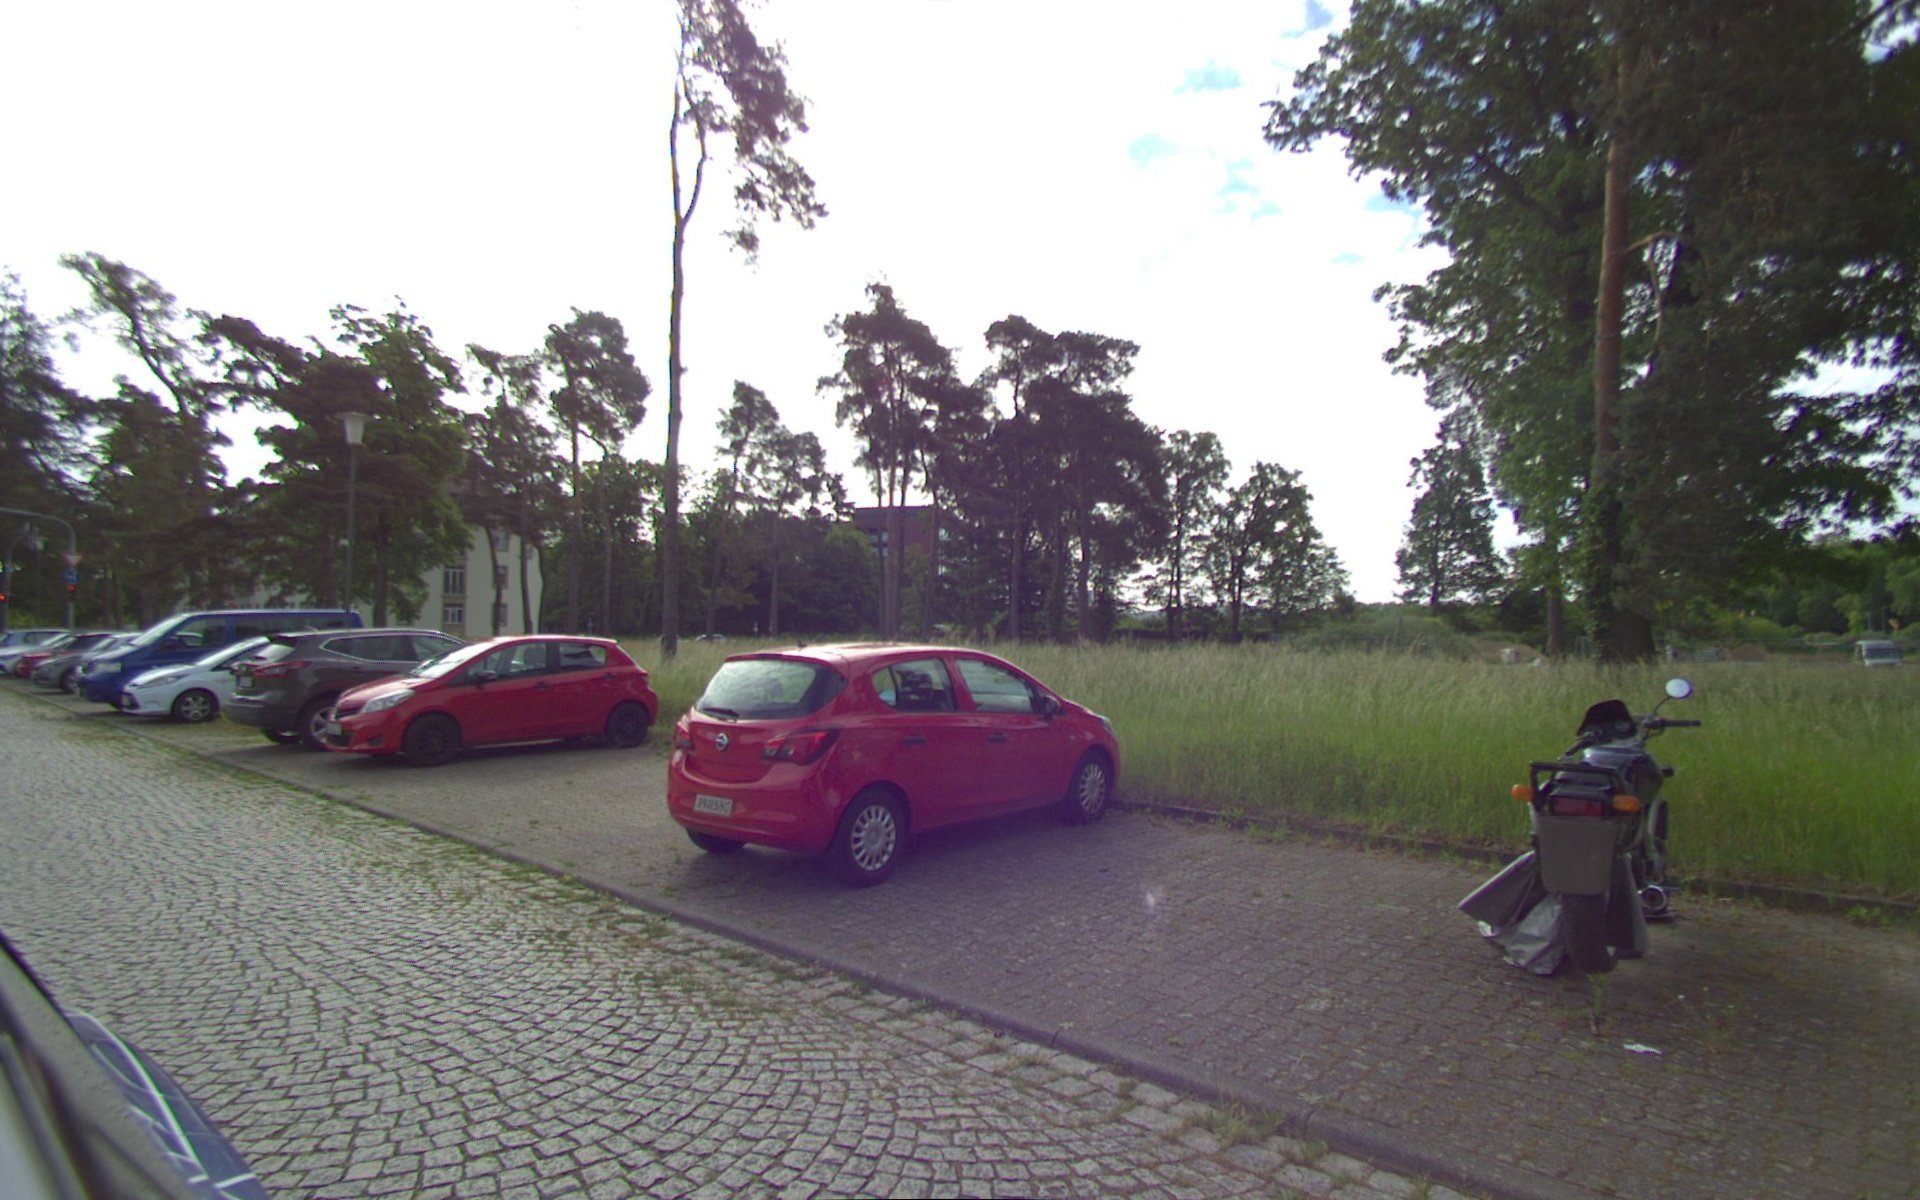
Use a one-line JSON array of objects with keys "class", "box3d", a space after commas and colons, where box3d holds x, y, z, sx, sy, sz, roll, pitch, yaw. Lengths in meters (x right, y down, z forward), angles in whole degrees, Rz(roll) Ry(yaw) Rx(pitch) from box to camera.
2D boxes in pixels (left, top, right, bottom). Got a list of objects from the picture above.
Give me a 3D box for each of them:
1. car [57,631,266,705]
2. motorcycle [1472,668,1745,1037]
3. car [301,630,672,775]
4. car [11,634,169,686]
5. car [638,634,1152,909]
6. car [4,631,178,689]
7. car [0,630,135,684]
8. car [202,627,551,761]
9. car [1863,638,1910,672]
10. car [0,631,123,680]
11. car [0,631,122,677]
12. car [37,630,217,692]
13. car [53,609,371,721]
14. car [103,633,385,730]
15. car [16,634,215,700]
[{"class": "car", "box3d": [-18.857, 1.538, 24.020, 1.683, 1.465, 3.559, -1, 0, 34]}, {"class": "motorcycle", "box3d": [3.225, 1.015, 4.906, 0.743, 1.298, 2.330, -2, -3, 41]}, {"class": "car", "box3d": [-5.830, 1.175, 12.817, 1.706, 1.532, 3.899, -3, -3, 41]}, {"class": "car", "box3d": [-26.825, 1.808, 31.261, 1.621, 1.358, 3.600, -1, 0, 45]}, {"class": "car", "box3d": [-0.259, 1.013, 7.615, 1.670, 1.490, 3.844, -2, -2, 40]}, {"class": "car", "box3d": [-25.151, 1.696, 29.386, 1.634, 1.427, 3.532, -1, 0, 34]}, {"class": "car", "box3d": [-28.714, 1.766, 32.177, 1.598, 1.498, 3.533, -1, 0, 33]}, {"class": "car", "box3d": [-8.107, 1.237, 14.348, 1.819, 1.616, 3.867, -2, -4, 38]}, {"class": "car", "box3d": [63.722, 3.741, 69.667, 2.036, 2.029, 4.174, -1, 0, 39]}, {"class": "car", "box3d": [-30.854, 1.846, 34.333, 1.625, 1.469, 3.527, -1, 0, 39]}, {"class": "car", "box3d": [-32.479, 1.887, 36.276, 1.623, 1.443, 3.418, -1, 0, 31]}, {"class": "car", "box3d": [-22.966, 1.626, 28.011, 1.602, 1.445, 3.532, -1, 0, 34]}, {"class": "car", "box3d": [-14.848, 1.170, 20.343, 2.160, 1.880, 4.773, -1, 0, 39]}, {"class": "car", "box3d": [-12.936, 1.384, 18.471, 1.741, 1.403, 3.881, -1, 0, 39]}, {"class": "car", "box3d": [-21.173, 1.615, 25.481, 1.614, 1.431, 3.559, -1, -1, 34]}]
